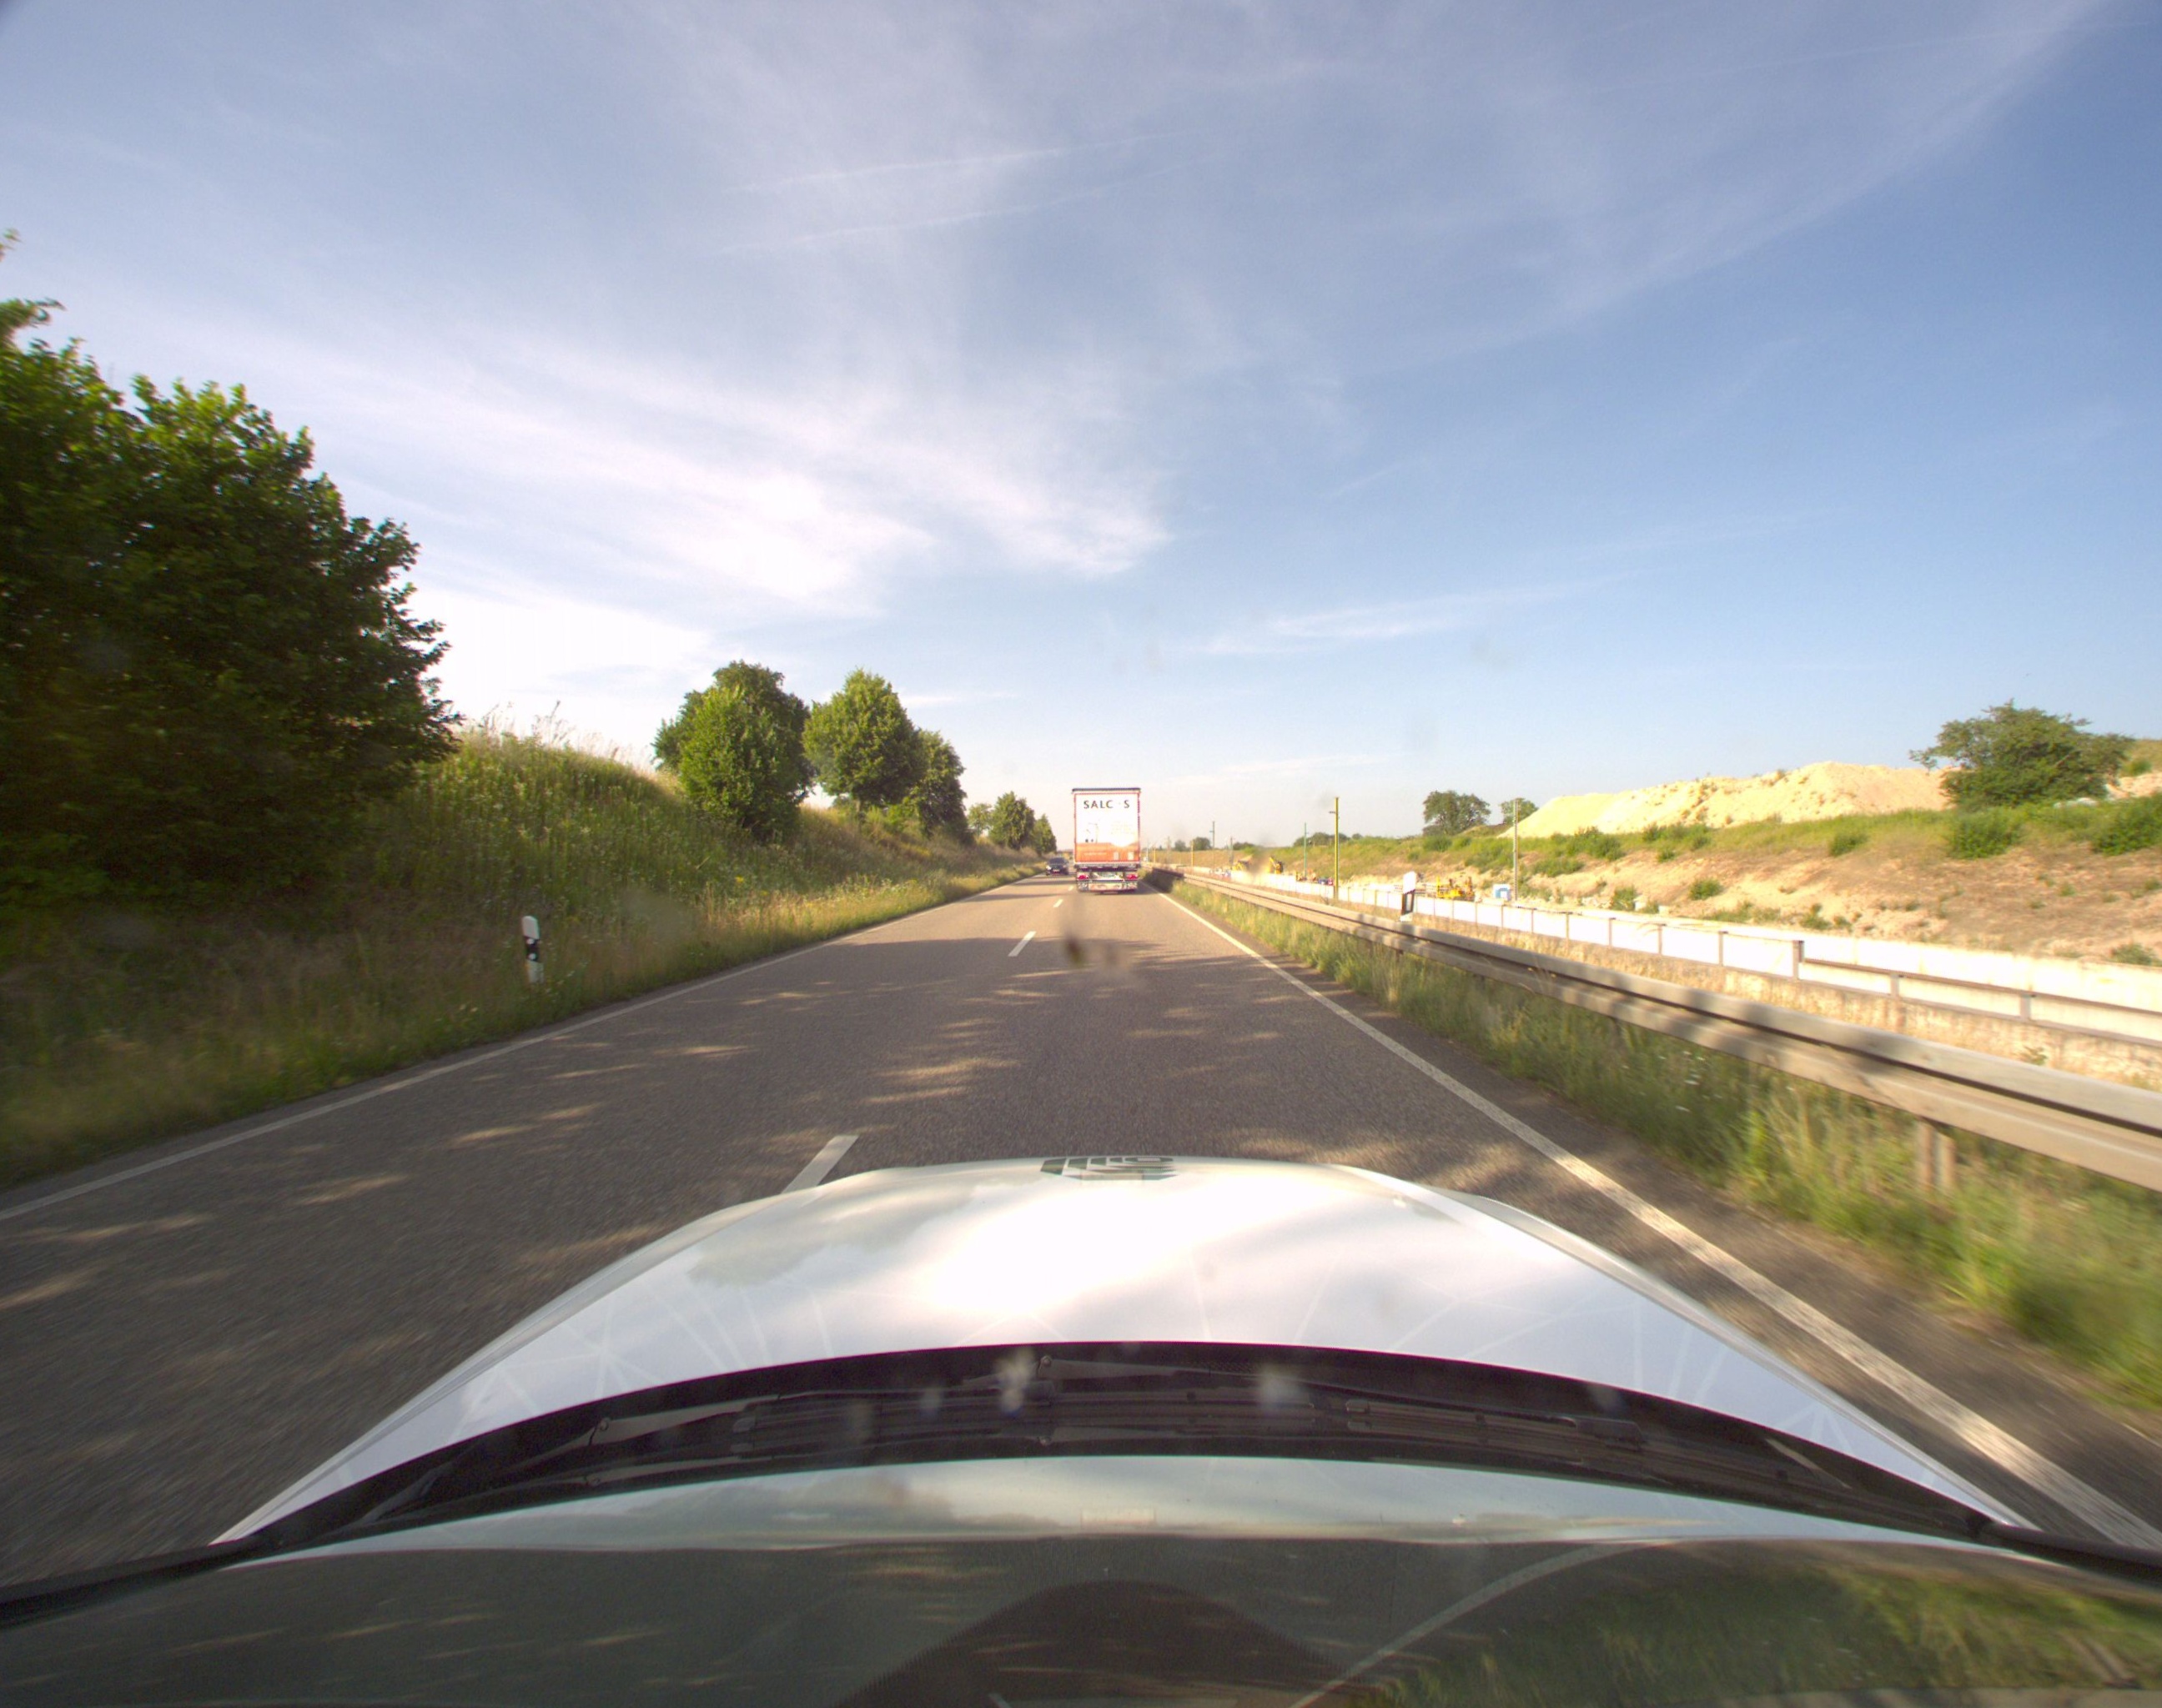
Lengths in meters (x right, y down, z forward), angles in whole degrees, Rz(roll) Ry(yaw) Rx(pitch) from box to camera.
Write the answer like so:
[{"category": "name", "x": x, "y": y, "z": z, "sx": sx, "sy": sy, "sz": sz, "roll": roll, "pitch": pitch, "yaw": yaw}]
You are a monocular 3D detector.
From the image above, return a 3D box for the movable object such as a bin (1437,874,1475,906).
[{"category": "movable object such as a bin", "x": 32.440, "y": 3.077, "z": 70.428, "sx": 2.877, "sy": 2.661, "sz": 2.031, "roll": -1, "pitch": 0, "yaw": 26}]

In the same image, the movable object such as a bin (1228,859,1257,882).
[{"category": "movable object such as a bin", "x": 23.626, "y": 2.411, "z": 119.384, "sx": 2.613, "sy": 3.239, "sz": 8.073, "roll": 0, "pitch": 0, "yaw": 0}]

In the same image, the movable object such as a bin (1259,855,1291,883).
[{"category": "movable object such as a bin", "x": 28.076, "y": 2.132, "z": 118.170, "sx": 2.787, "sy": 3.886, "sz": 7.537, "roll": 0, "pitch": 0, "yaw": 0}]

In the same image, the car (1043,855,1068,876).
[{"category": "car", "x": -2.023, "y": 0.903, "z": 65.274, "sx": 1.737, "sy": 1.546, "sz": 4.312, "roll": -1, "pitch": 0, "yaw": 1}]

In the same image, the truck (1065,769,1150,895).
[{"category": "truck", "x": 1.111, "y": -0.813, "z": 34.908, "sx": 3.141, "sy": 4.688, "sz": 8.444, "roll": -1, "pitch": 0, "yaw": 1}]
